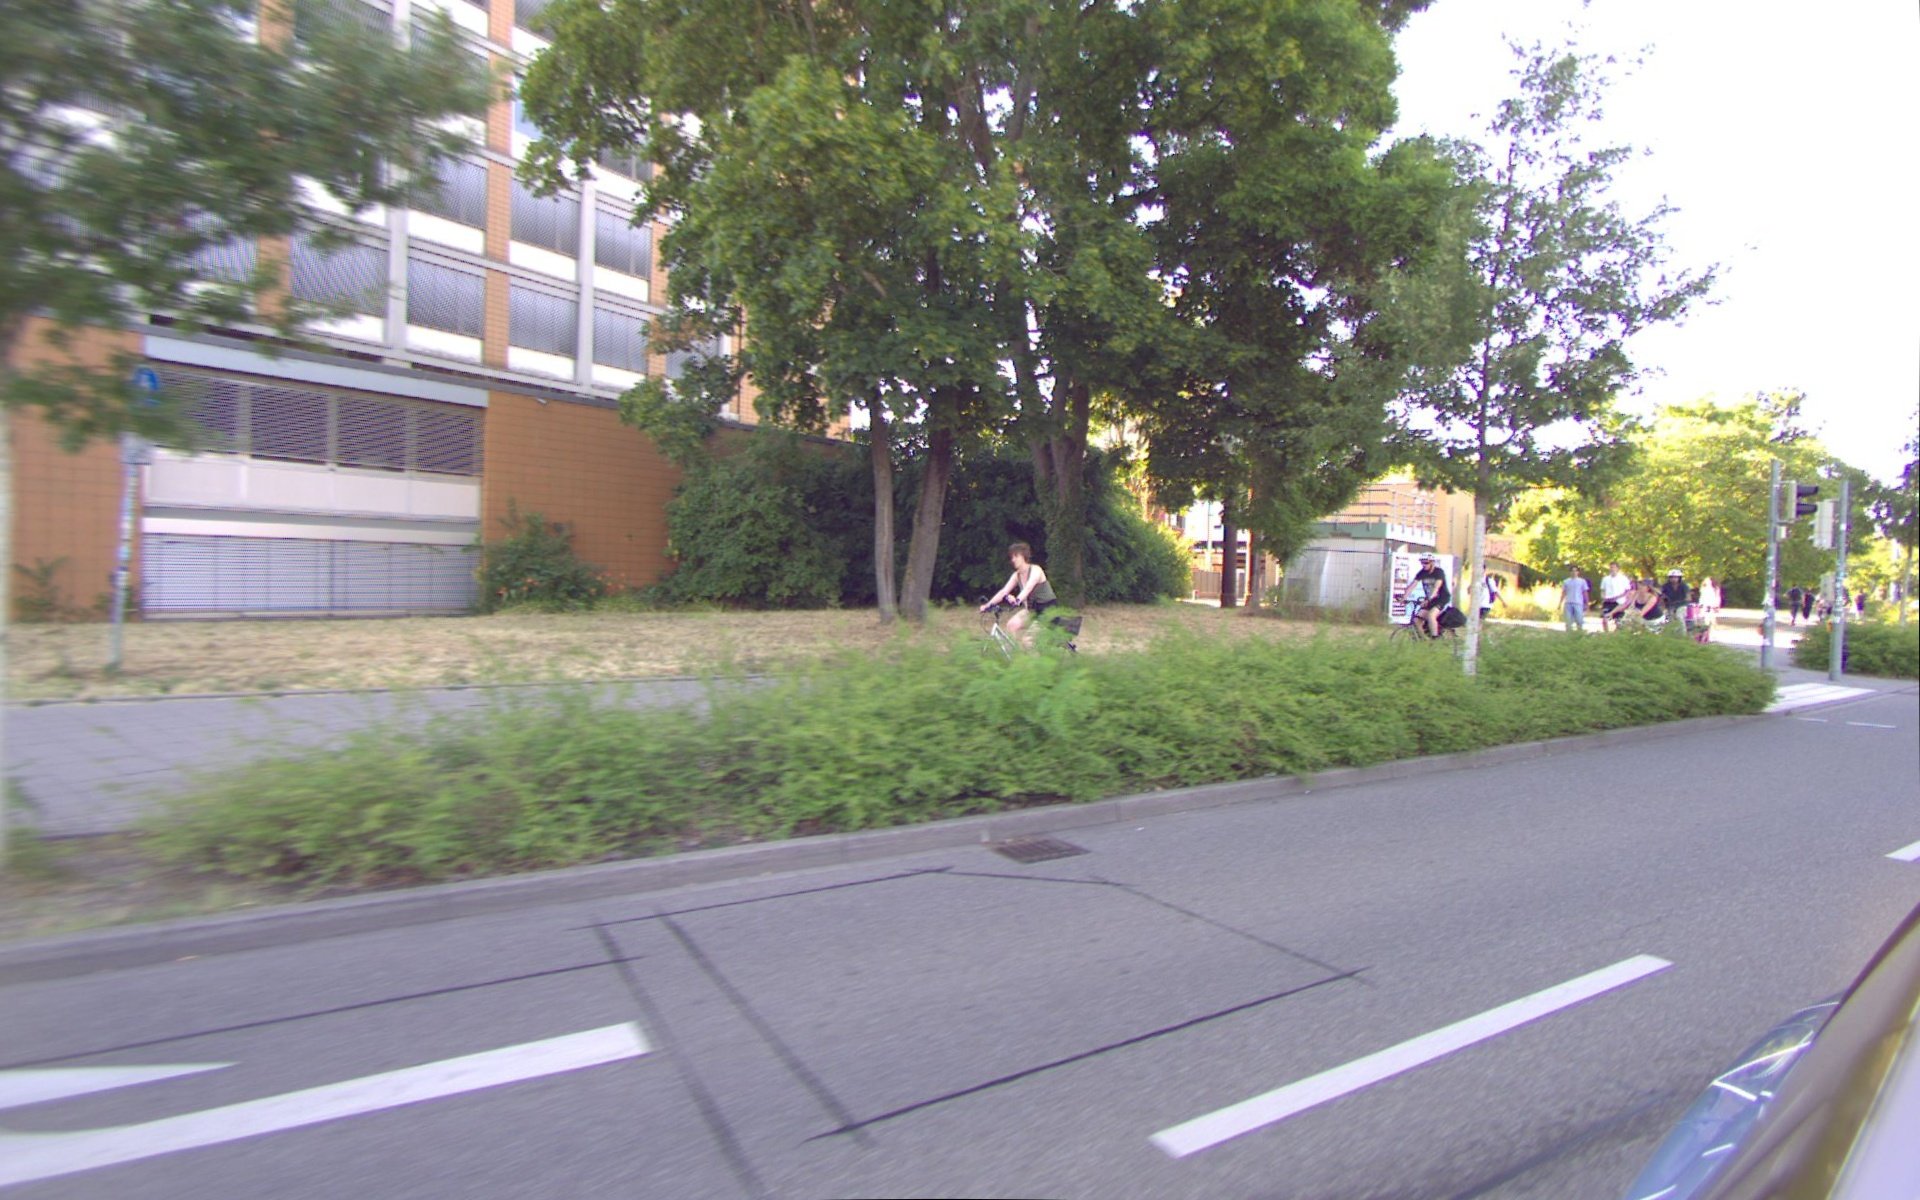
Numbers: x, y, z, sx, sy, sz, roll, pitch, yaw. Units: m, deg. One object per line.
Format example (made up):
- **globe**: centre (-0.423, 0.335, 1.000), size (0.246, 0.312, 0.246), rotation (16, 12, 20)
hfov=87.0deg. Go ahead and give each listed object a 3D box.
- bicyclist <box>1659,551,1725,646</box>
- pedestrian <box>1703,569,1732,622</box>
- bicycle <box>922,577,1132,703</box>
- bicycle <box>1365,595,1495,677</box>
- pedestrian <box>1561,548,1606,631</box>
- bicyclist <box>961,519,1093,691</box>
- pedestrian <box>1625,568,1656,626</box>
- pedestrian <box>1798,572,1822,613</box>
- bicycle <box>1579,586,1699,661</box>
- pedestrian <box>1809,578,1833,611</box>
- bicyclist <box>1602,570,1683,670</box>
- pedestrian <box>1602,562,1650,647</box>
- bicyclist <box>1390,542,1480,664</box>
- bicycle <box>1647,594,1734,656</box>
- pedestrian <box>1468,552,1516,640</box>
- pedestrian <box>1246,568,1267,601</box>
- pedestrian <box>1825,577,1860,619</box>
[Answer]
- **bicyclist**: centre (14.860, -0.045, 20.545), size (1.073, 1.856, 0.780), rotation (0, 2, -39)
- **pedestrian**: centre (24.931, -0.157, 33.301), size (0.672, 1.725, 0.866), rotation (2, 2, 35)
- **bicycle**: centre (0.749, 0.366, 10.755), size (2.249, 1.169, 0.780), rotation (-1, 5, -38)
- **bicycle**: centre (7.382, 0.534, 15.861), size (2.247, 1.170, 0.781), rotation (0, 2, -34)
- **pedestrian**: centre (14.338, -0.249, 23.289), size (0.611, 1.892, 0.577), rotation (1, 1, 1)
- **bicyclist**: centre (0.705, 0.019, 10.694), size (1.073, 1.697, 0.780), rotation (-1, 5, -38)
- **pedestrian**: centre (19.055, -0.094, 28.328), size (0.620, 1.594, 0.630), rotation (3, 2, 41)
- **pedestrian**: centre (35.956, -0.326, 42.809), size (0.709, 1.734, 0.723), rotation (3, 2, 41)
- **bicycle**: centre (11.037, 0.390, 16.442), size (1.830, 1.135, 0.721), rotation (2, 0, -24)
- **pedestrian**: centre (42.150, -0.287, 49.536), size (0.758, 1.562, 0.837), rotation (3, 2, 35)
- **bicyclist**: centre (11.097, 0.318, 16.471), size (0.832, 1.568, 0.719), rotation (3, 0, -24)
- **pedestrian**: centre (14.998, 0.090, 22.797), size (0.611, 1.892, 0.577), rotation (1, 1, 1)
- **bicyclist**: centre (7.458, 0.030, 15.889), size (1.072, 1.853, 0.781), rotation (0, 2, -34)
- **bicycle**: centre (14.859, 0.472, 20.560), size (2.534, 1.170, 0.780), rotation (0, 2, -40)
- **pedestrian**: centre (10.680, -0.085, 20.331), size (0.619, 1.720, 0.622), rotation (0, 2, -41)
- **pedestrian**: centre (18.441, -0.974, 62.862), size (0.854, 2.038, 0.898), rotation (0, 2, -43)
- **pedestrian**: centre (38.927, -0.089, 44.657), size (1.012, 1.771, 0.839), rotation (3, 2, 35)
